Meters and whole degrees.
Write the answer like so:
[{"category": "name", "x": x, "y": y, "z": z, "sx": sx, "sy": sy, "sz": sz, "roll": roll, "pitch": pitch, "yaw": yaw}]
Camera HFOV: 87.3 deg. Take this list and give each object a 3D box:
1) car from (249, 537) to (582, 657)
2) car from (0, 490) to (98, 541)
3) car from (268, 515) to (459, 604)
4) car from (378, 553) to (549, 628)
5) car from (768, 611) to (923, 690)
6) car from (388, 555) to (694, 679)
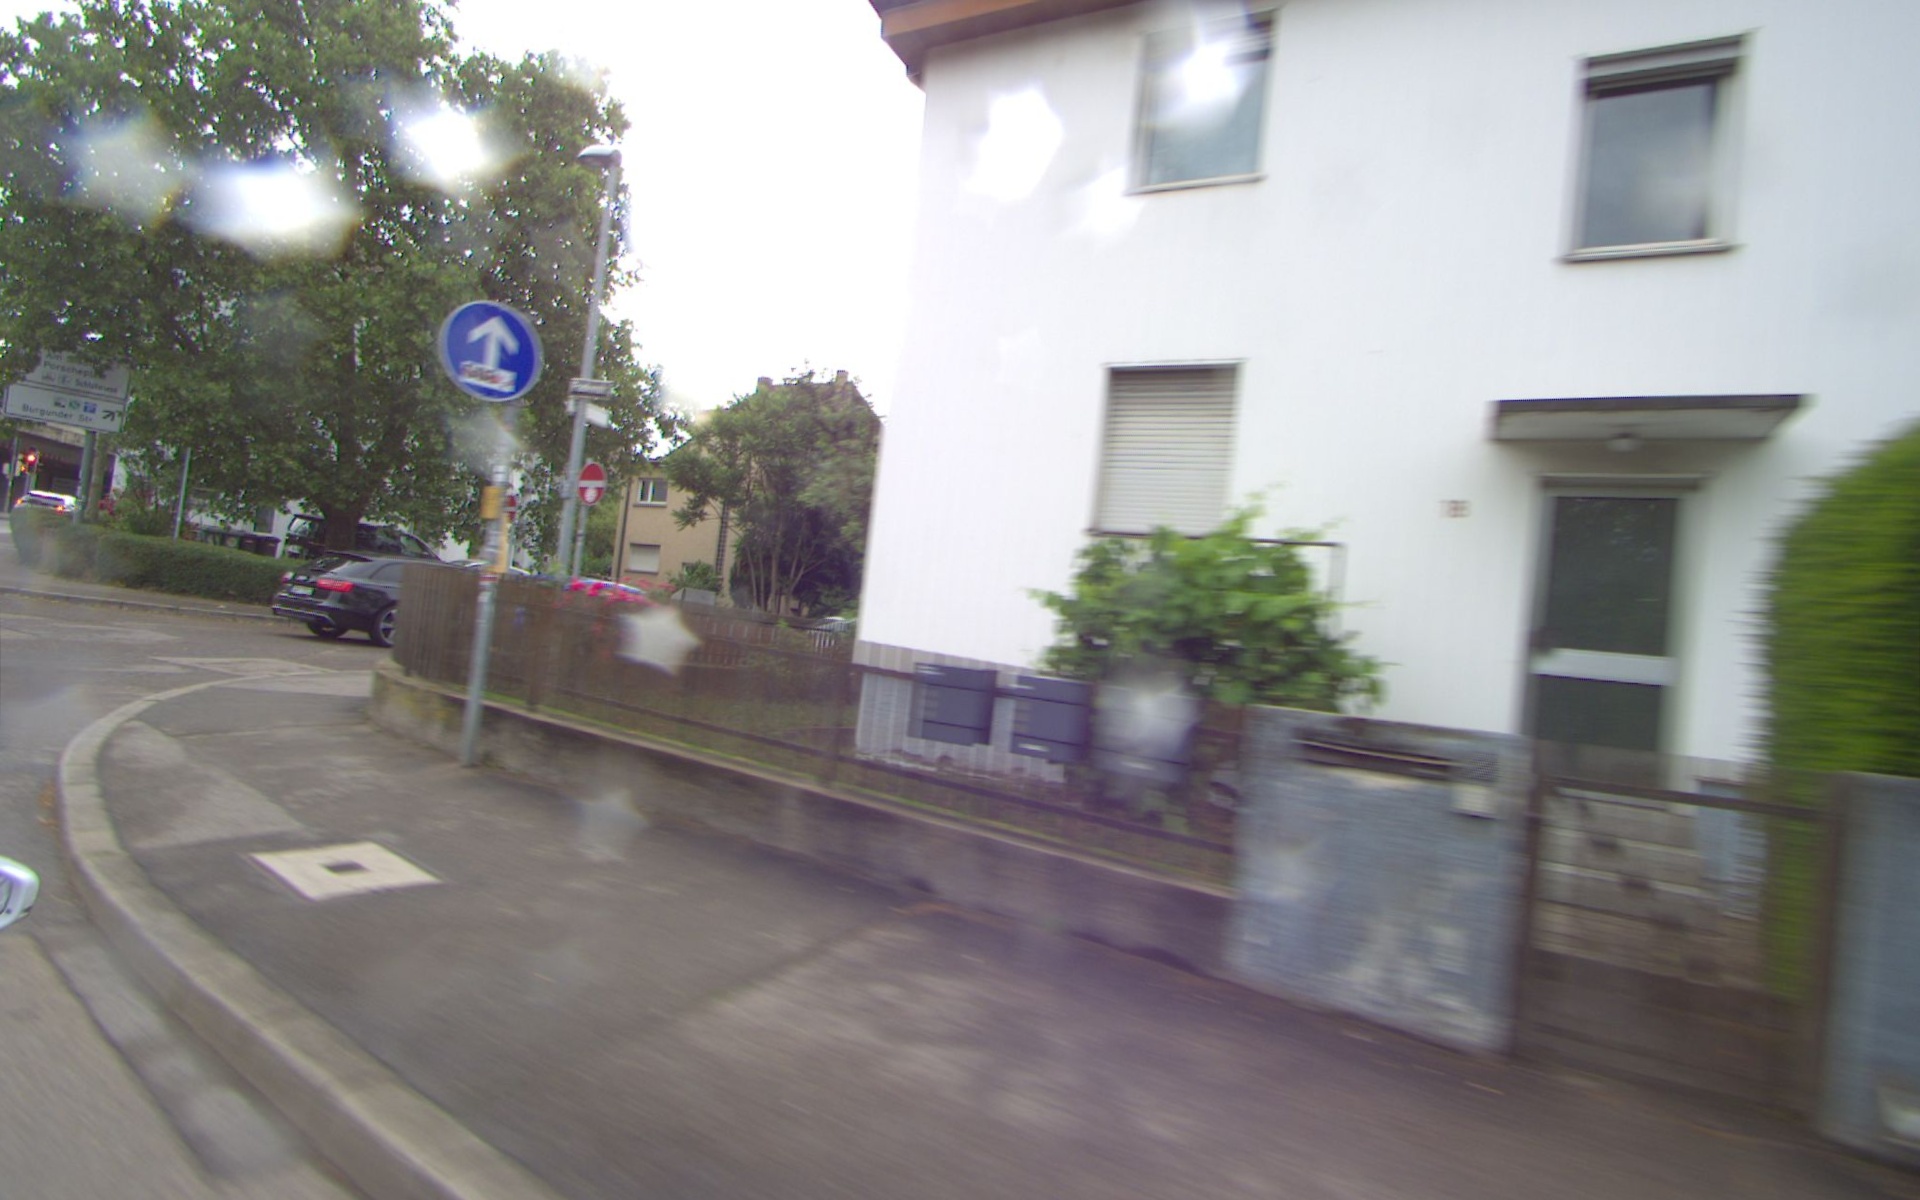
[{"category": "car", "x": -9.066, "y": 0.055, "z": 17.313, "sx": 1.851, "sy": 1.498, "sz": 4.818, "roll": 7, "pitch": -1, "yaw": 23}, {"category": "car", "x": -38.539, "y": -3.523, "z": 42.656, "sx": 1.977, "sy": 1.566, "sz": 3.976, "roll": 8, "pitch": -3, "yaw": -27}, {"category": "car", "x": -17.797, "y": -1.150, "z": 30.243, "sx": 1.965, "sy": 1.954, "sz": 4.413, "roll": 7, "pitch": -2, "yaw": 27}, {"category": "car", "x": -14.327, "y": -0.234, "z": 29.222, "sx": 1.793, "sy": 1.598, "sz": 3.994, "roll": 7, "pitch": -2, "yaw": 33}, {"category": "car", "x": -2.646, "y": 1.255, "z": 24.064, "sx": 1.741, "sy": 1.470, "sz": 3.783, "roll": 7, "pitch": -2, "yaw": 27}, {"category": "car", "x": -6.484, "y": 0.352, "z": 16.041, "sx": 1.854, "sy": 1.498, "sz": 4.122, "roll": 7, "pitch": -1, "yaw": 30}]
